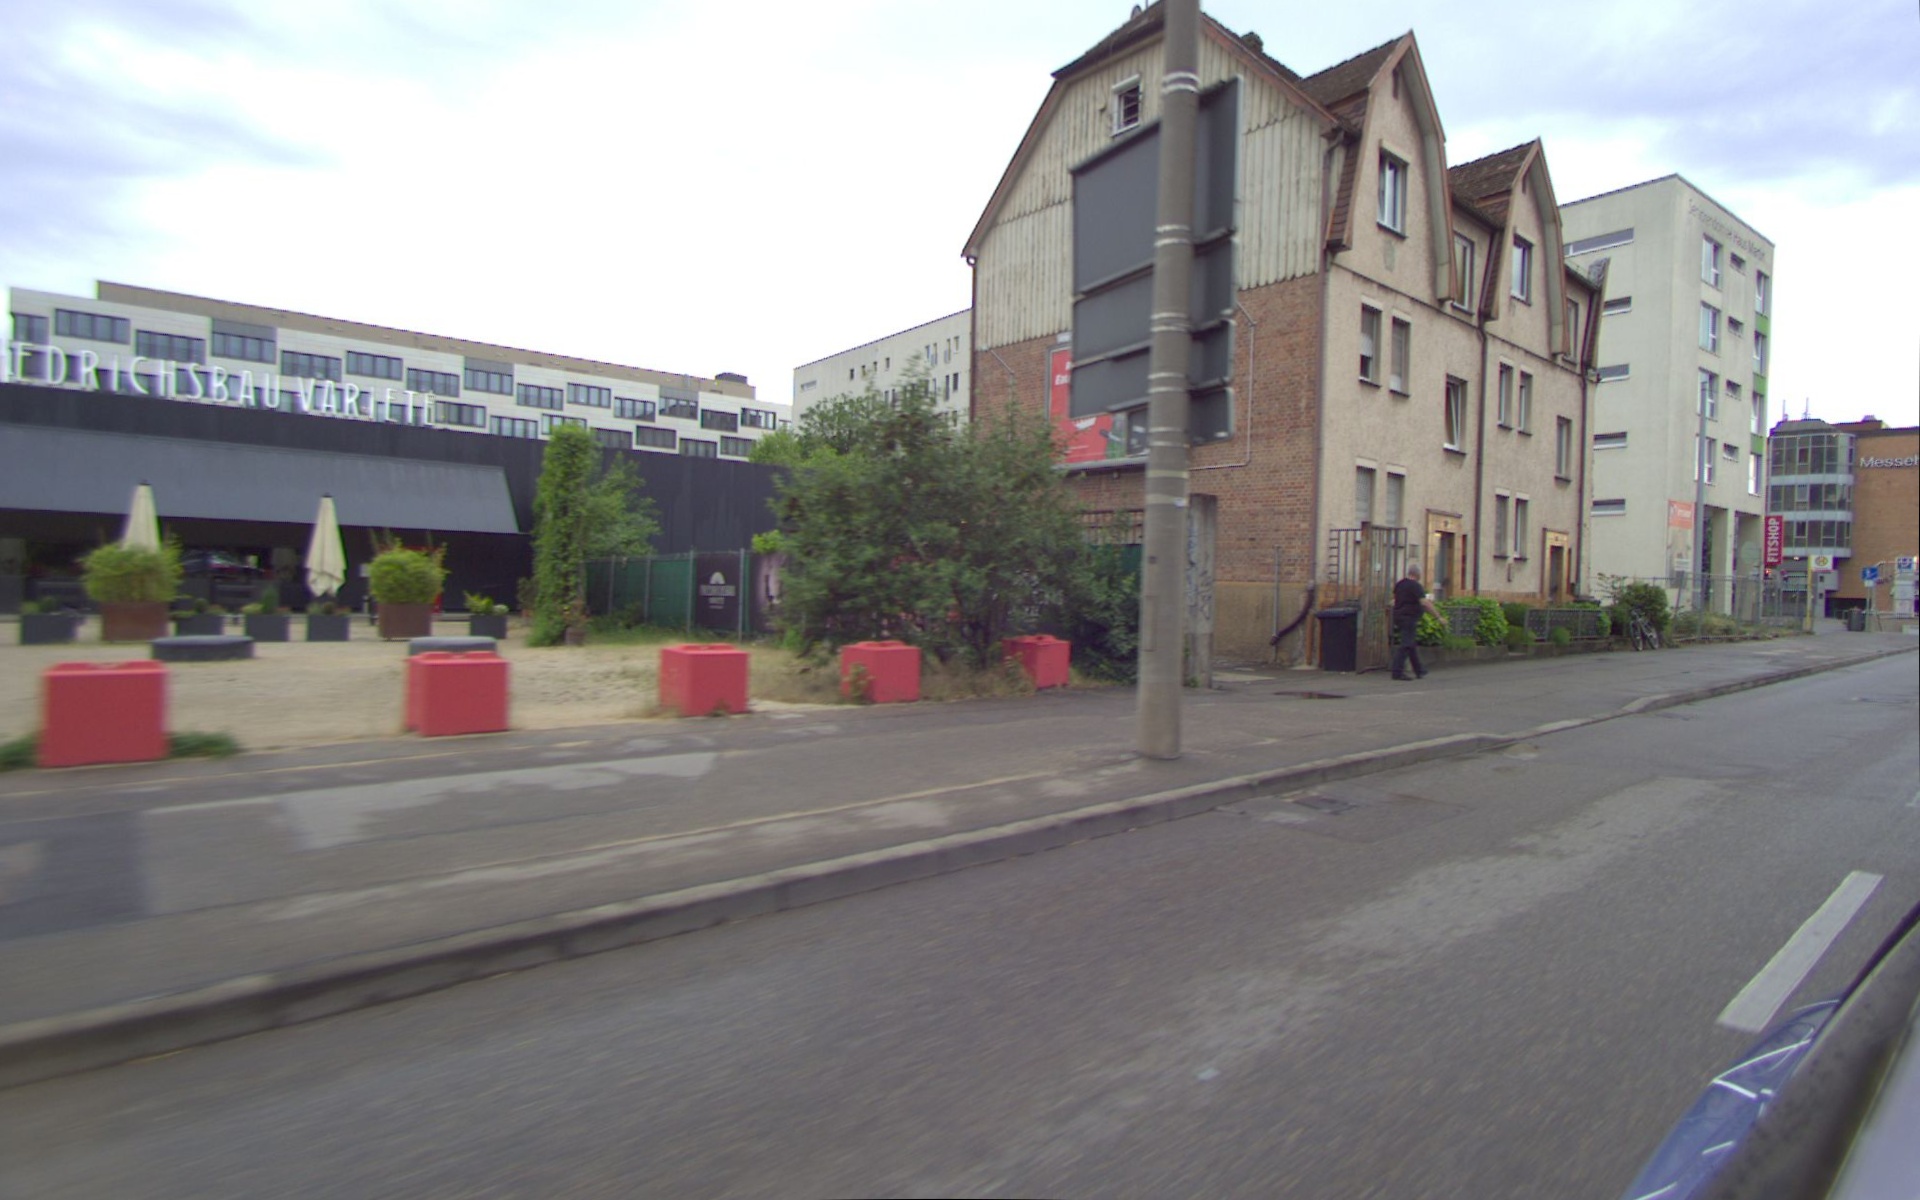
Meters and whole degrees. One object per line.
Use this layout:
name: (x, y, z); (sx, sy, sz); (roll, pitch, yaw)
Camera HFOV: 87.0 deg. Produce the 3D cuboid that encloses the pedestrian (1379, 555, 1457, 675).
pedestrian: (7.042, 0.211, 15.556); (0.909, 1.786, 0.757); (-1, 1, 39)
